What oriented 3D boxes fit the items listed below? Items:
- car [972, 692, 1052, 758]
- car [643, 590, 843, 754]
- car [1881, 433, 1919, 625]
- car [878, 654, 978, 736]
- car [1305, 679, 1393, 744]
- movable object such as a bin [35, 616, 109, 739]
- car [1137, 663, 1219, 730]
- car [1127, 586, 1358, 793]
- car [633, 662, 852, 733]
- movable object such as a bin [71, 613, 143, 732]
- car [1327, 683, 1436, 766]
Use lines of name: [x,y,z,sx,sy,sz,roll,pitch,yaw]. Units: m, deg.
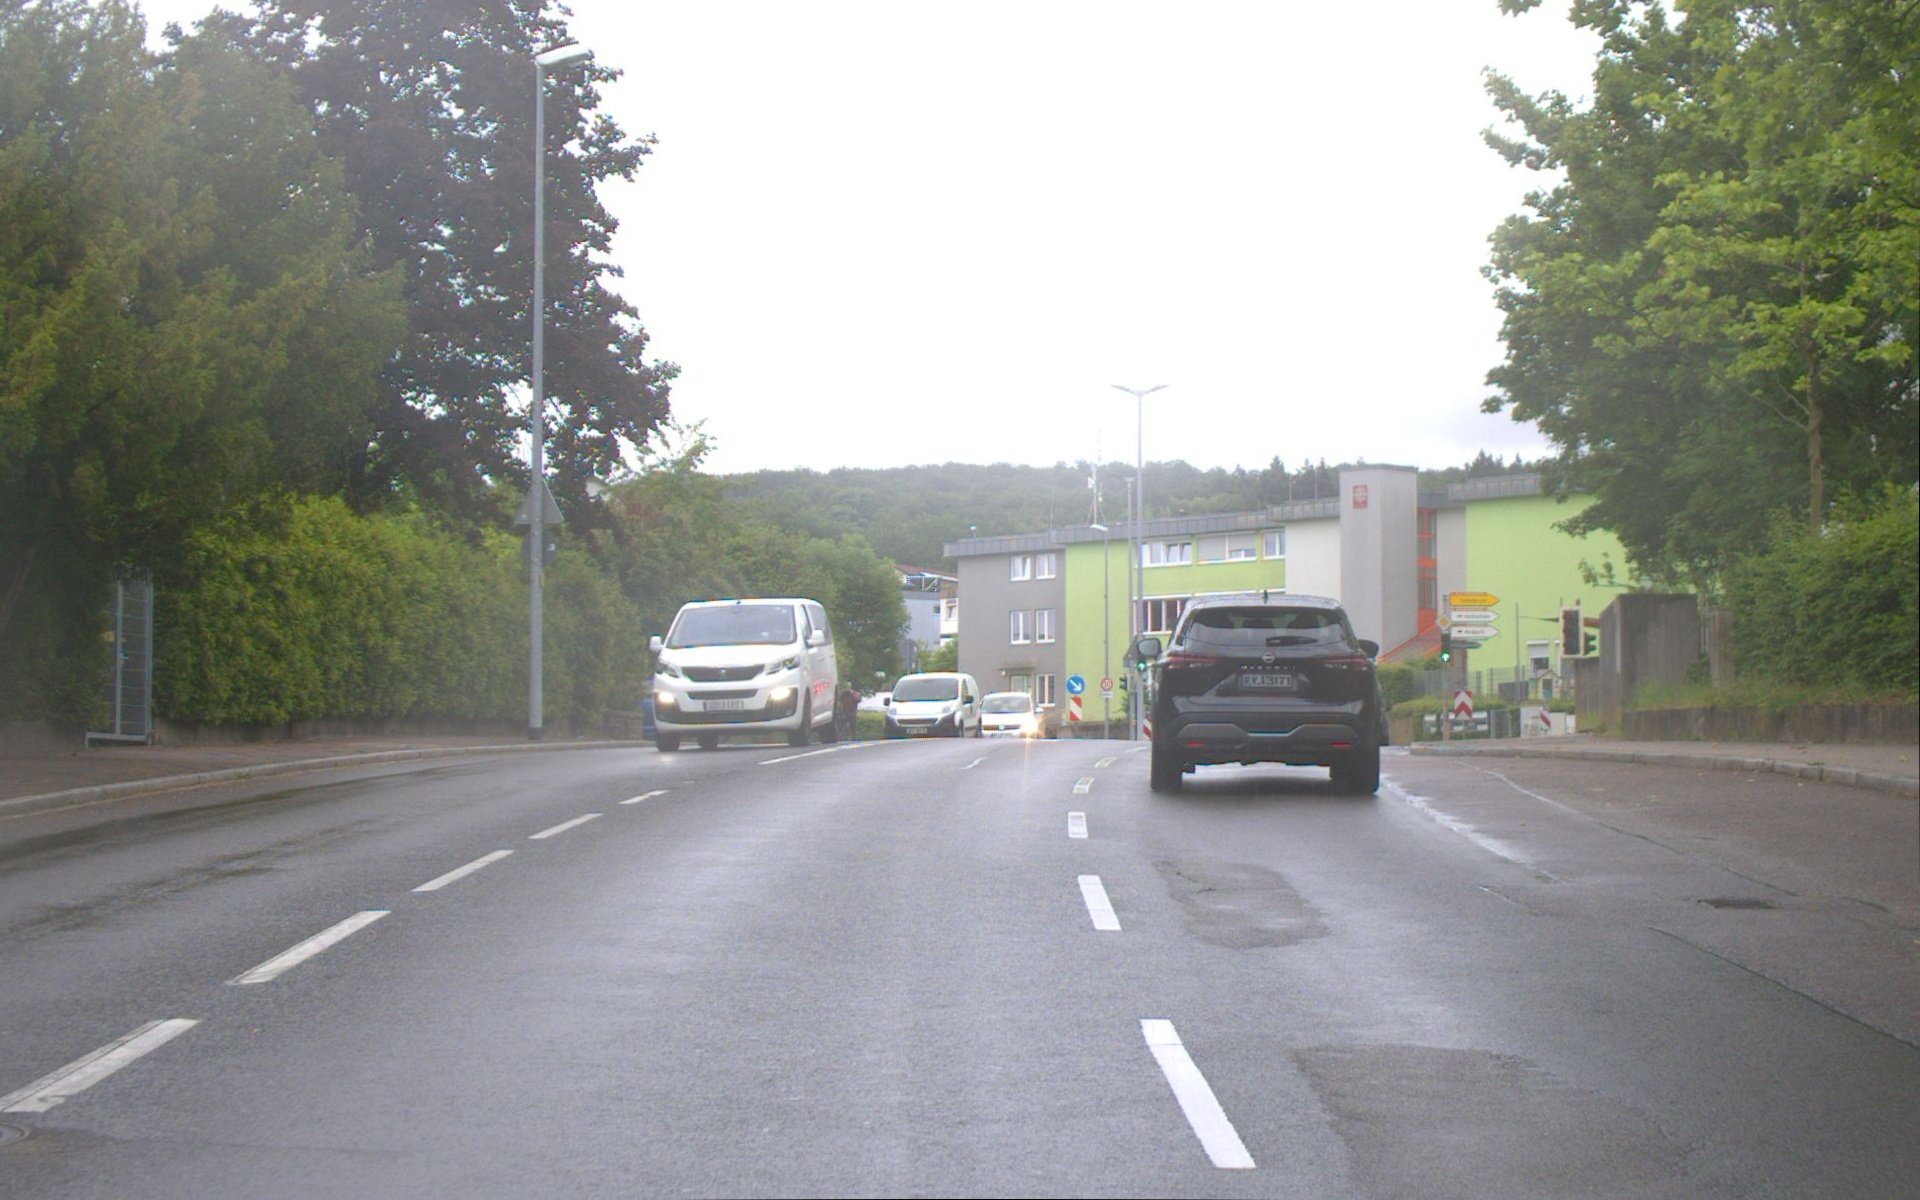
car: [1.354,3.191,88.039,1.635,1.574,4.056,-3,-2,5]
car: [-2.695,0.875,43.828,1.863,1.910,5.028,-2,0,4]
car: [12.198,-0.785,39.105,1.993,2.219,4.134,1,1,-5]
car: [-0.685,2.126,76.367,1.701,1.702,3.977,3,-2,6]
car: [9.514,2.703,83.937,1.994,1.437,3.998,1,0,8]
movable object such as a bin: [-9.650,0.837,37.377,0.547,1.321,0.806,1,-1,3]
car: [5.173,2.300,81.228,1.683,1.501,3.772,-1,-3,7]
car: [2.340,0.680,28.765,1.790,1.598,4.252,0,0,4]
car: [-4.596,2.062,73.163,4.482,1.357,1.805,2,-1,1]
movable object such as a bin: [-9.592,0.809,38.667,0.547,1.321,0.806,1,-1,3]
car: [8.111,2.371,66.225,1.994,1.437,3.999,1,0,7]
